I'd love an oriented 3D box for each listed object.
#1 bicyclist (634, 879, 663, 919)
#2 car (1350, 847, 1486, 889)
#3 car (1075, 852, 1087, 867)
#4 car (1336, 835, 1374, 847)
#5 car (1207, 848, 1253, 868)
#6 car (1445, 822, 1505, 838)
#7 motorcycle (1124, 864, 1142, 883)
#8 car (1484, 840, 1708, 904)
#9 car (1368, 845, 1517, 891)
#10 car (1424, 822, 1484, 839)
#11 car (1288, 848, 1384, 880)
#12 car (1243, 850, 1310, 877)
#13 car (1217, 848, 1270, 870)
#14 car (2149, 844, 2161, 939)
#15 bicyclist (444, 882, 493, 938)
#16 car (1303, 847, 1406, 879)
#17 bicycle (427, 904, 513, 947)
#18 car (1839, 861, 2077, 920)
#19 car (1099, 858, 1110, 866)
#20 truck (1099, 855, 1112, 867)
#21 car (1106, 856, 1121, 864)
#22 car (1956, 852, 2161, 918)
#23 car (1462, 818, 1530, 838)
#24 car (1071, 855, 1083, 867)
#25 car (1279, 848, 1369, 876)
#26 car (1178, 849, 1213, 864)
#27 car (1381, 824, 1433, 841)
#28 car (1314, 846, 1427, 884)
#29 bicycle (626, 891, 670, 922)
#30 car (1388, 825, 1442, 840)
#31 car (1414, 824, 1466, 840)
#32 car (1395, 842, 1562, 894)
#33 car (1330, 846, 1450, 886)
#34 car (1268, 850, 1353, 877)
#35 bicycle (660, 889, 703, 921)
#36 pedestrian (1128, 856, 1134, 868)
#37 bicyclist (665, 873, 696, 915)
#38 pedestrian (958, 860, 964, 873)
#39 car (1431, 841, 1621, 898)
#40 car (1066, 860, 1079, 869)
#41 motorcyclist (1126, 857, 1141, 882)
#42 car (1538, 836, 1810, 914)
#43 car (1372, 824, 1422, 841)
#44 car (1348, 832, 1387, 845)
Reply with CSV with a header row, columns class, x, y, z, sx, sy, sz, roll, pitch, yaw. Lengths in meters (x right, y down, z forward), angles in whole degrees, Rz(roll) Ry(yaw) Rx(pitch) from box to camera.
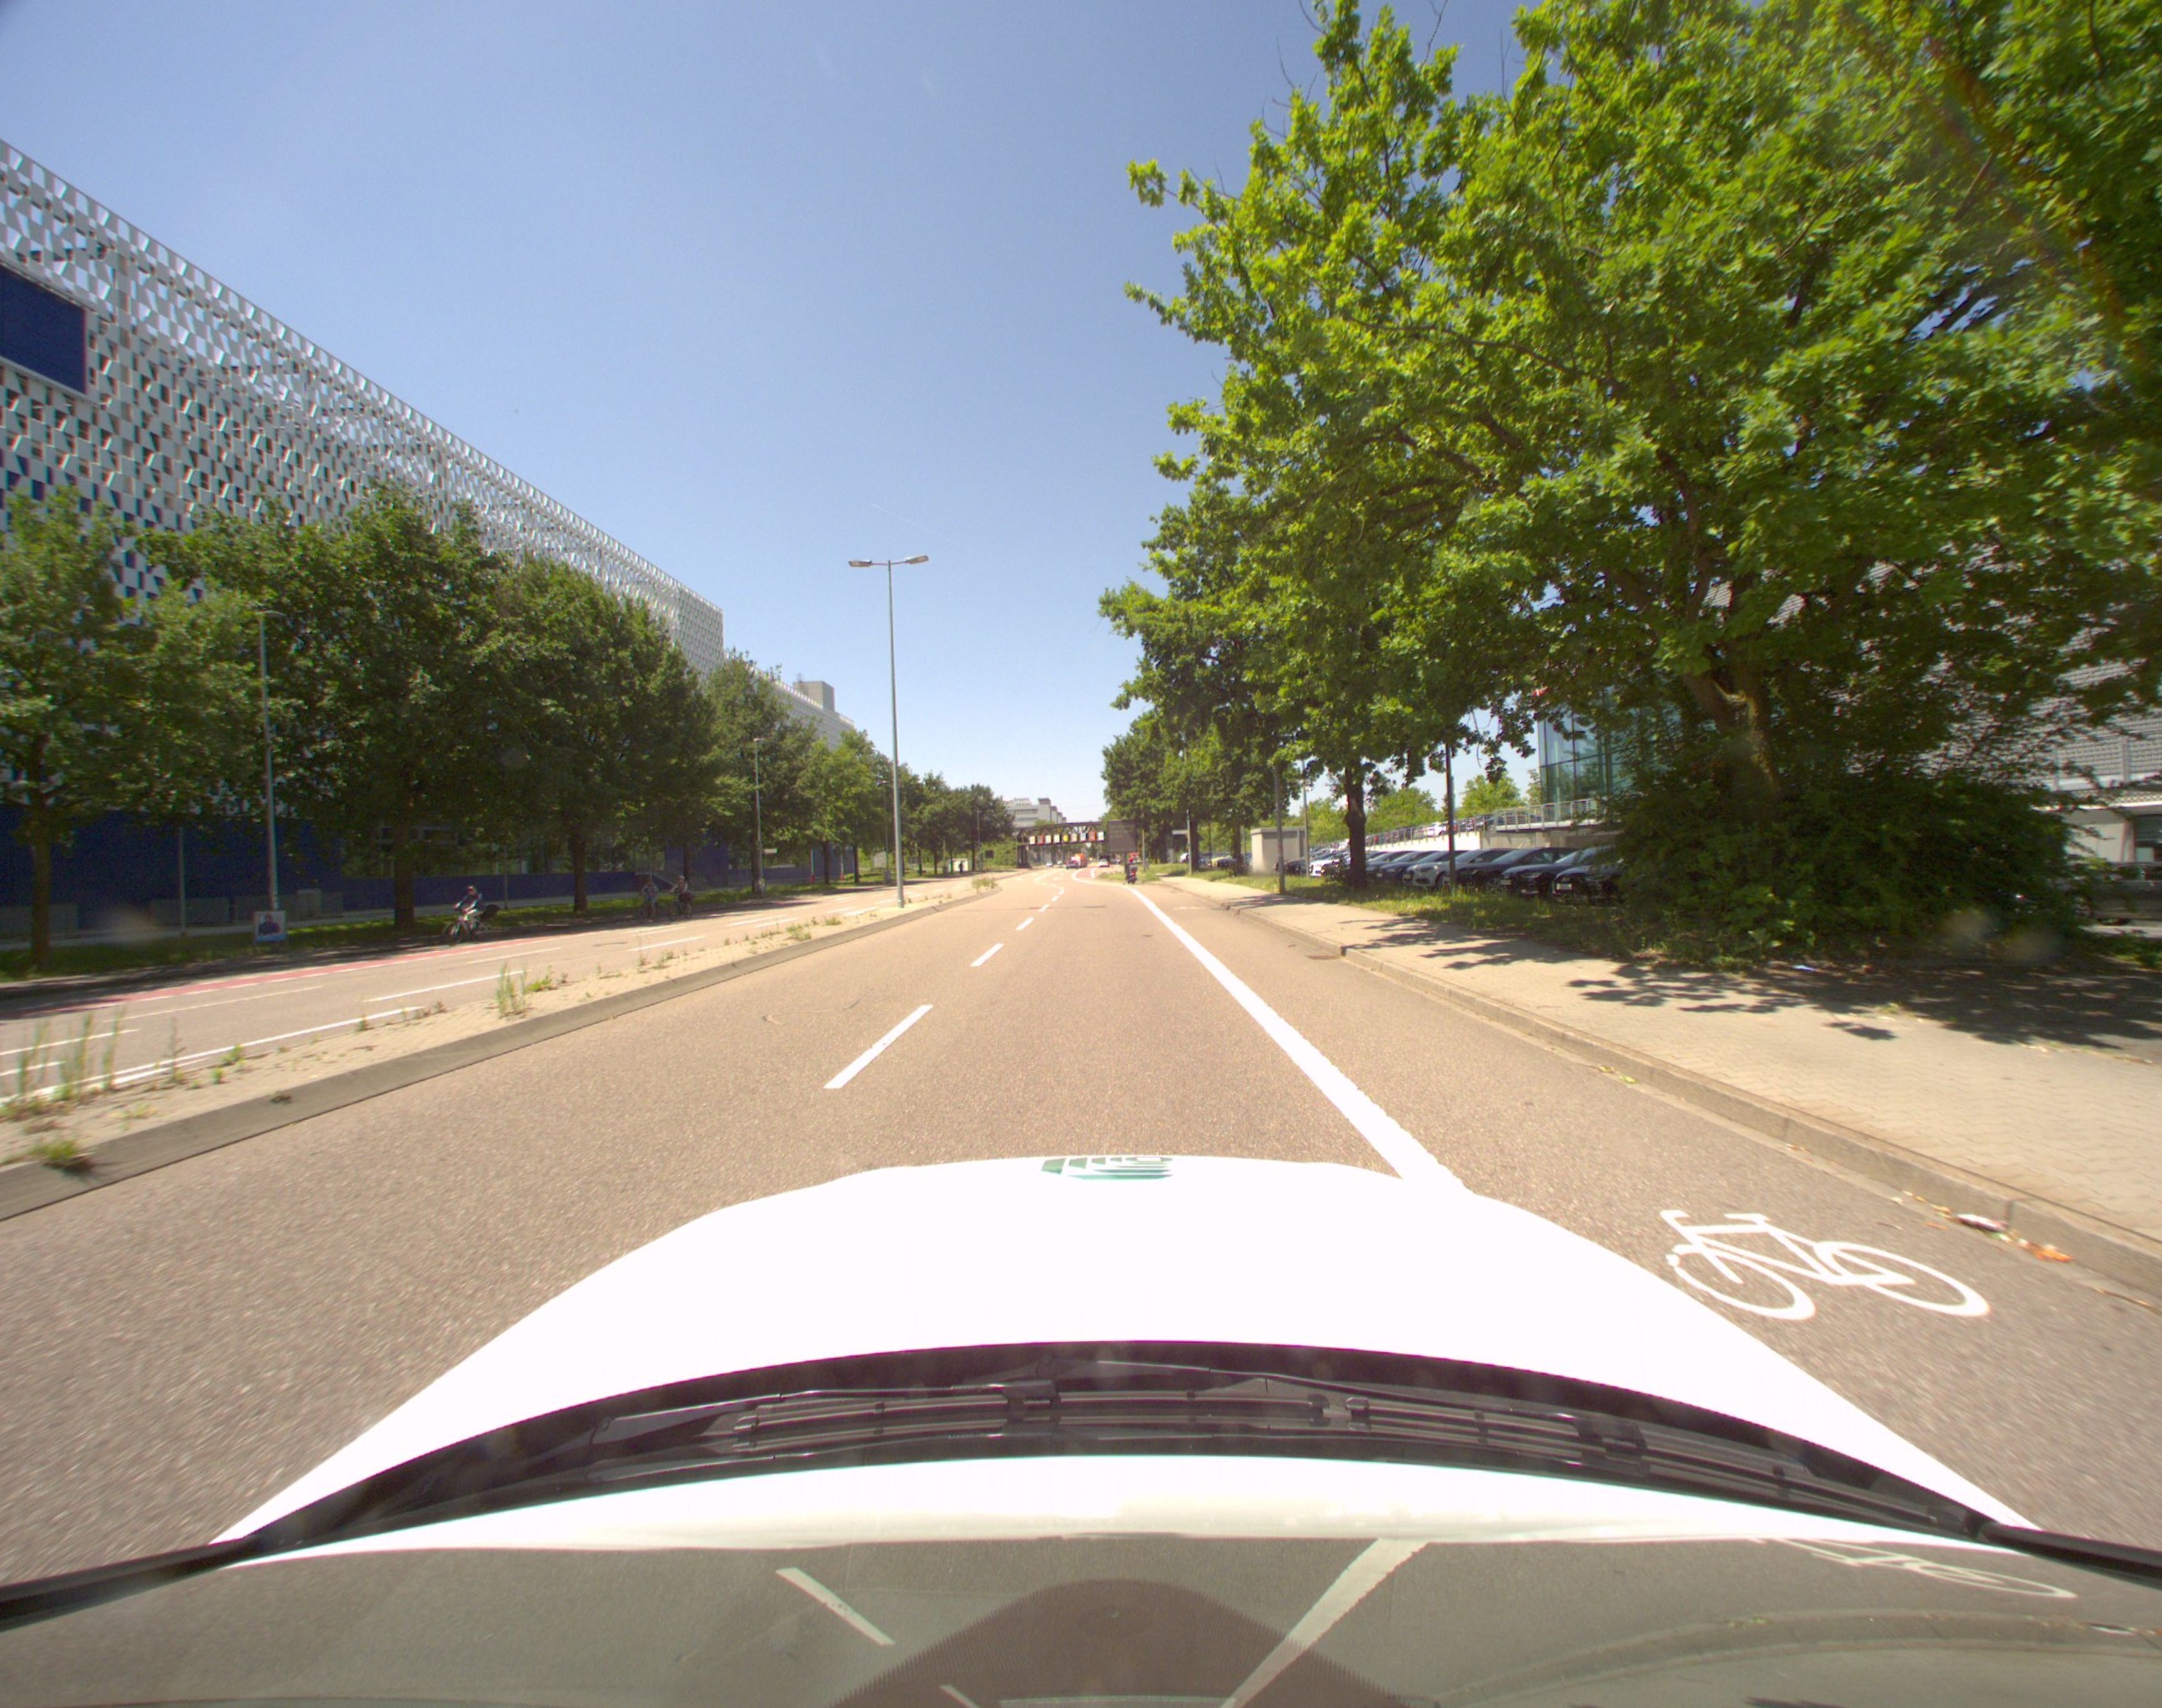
class,x,y,z,sx,sy,sz,roll,pitch,yaw
bicyclist,-17.798,1.836,33.498,0.634,1.582,0.885,-2,-1,3
car,12.328,0.504,30.016,4.206,1.369,1.989,2,0,1
car,0.025,1.111,159.942,2.066,2.854,6.764,-2,0,0
car,29.534,-1.431,87.830,3.512,1.239,1.541,0,-1,0
car,13.909,0.392,76.113,3.853,1.604,1.795,3,-1,-4
car,29.440,-1.781,60.876,3.716,1.130,1.682,0,-1,-4
motorcycle,3.131,1.139,48.951,0.716,1.105,1.825,-1,-1,-9
car,12.270,0.419,19.606,4.206,1.356,1.879,2,0,1
car,12.143,0.468,27.528,4.206,1.407,1.918,1,0,1
car,29.171,-1.815,63.771,3.931,1.211,1.715,-1,0,-4
car,12.694,0.510,40.657,4.206,1.452,1.918,2,0,1
car,13.177,0.631,54.961,3.978,1.618,1.795,3,-1,-4
car,13.551,0.446,68.156,3.978,1.624,1.795,3,-1,-4
car,14.627,0.500,9.546,1.829,1.315,4.490,1,0,43
bicyclist,-19.505,1.762,25.953,0.741,1.685,0.953,-2,-1,4
car,12.705,0.409,38.000,4.206,1.342,1.918,2,0,1
bicycle,-19.472,2.257,26.031,0.736,1.125,2.437,-2,0,4
car,22.966,0.933,21.463,4.206,1.362,1.918,2,0,1
car,4.412,1.484,150.729,1.918,1.420,4.000,-1,0,0
truck,5.028,1.364,167.372,2.450,2.410,7.135,0,0,1
car,8.674,1.582,216.972,3.967,1.750,1.896,-2,-1,6
car,22.620,0.709,18.329,4.053,1.342,1.694,2,-1,1
car,29.700,-1.864,58.385,3.978,1.312,1.795,0,-1,-4
car,-0.698,1.181,140.993,1.987,2.014,4.000,-1,0,0
car,12.779,0.436,43.058,4.206,1.342,1.918,2,0,1
car,13.645,0.267,97.231,3.853,1.604,1.795,3,-1,-4
car,29.647,-1.984,74.159,3.978,1.312,1.795,-2,0,-4
car,12.535,0.480,35.413,4.206,1.385,1.918,3,0,1
bicycle,-17.793,2.145,33.532,0.634,1.134,1.972,-2,0,4
car,29.363,-1.872,71.675,3.978,1.312,1.795,0,-1,-4
car,29.215,-1.814,66.242,3.516,1.239,1.675,0,-1,-4
car,12.096,0.416,25.004,4.206,1.407,1.918,2,0,1
car,12.345,0.475,32.705,4.115,1.380,1.779,3,0,1
car,12.821,0.520,45.676,4.206,1.342,1.918,-2,0,1
bicycle,-16.279,2.055,33.255,0.627,1.159,2.117,-4,0,1
pedestrian,5.954,0.976,97.506,0.622,1.374,0.564,-2,-1,-1
bicyclist,-16.312,1.620,33.201,0.631,1.629,1.044,-4,-1,0
pedestrian,-17.471,1.809,118.603,0.741,1.884,0.578,-2,-1,1
car,12.179,0.413,22.500,4.206,1.407,1.918,2,0,1
car,-1.362,1.666,128.710,1.894,1.376,4.231,-2,0,0
motorcyclist,3.132,0.923,48.915,0.719,1.529,0.868,-1,-1,-9
car,12.127,0.407,16.866,4.309,1.407,1.825,2,0,1
car,29.720,-2.018,76.711,3.978,1.312,1.795,-2,0,-4
car,29.657,-1.595,84.409,3.513,1.239,1.541,0,-1,-1
